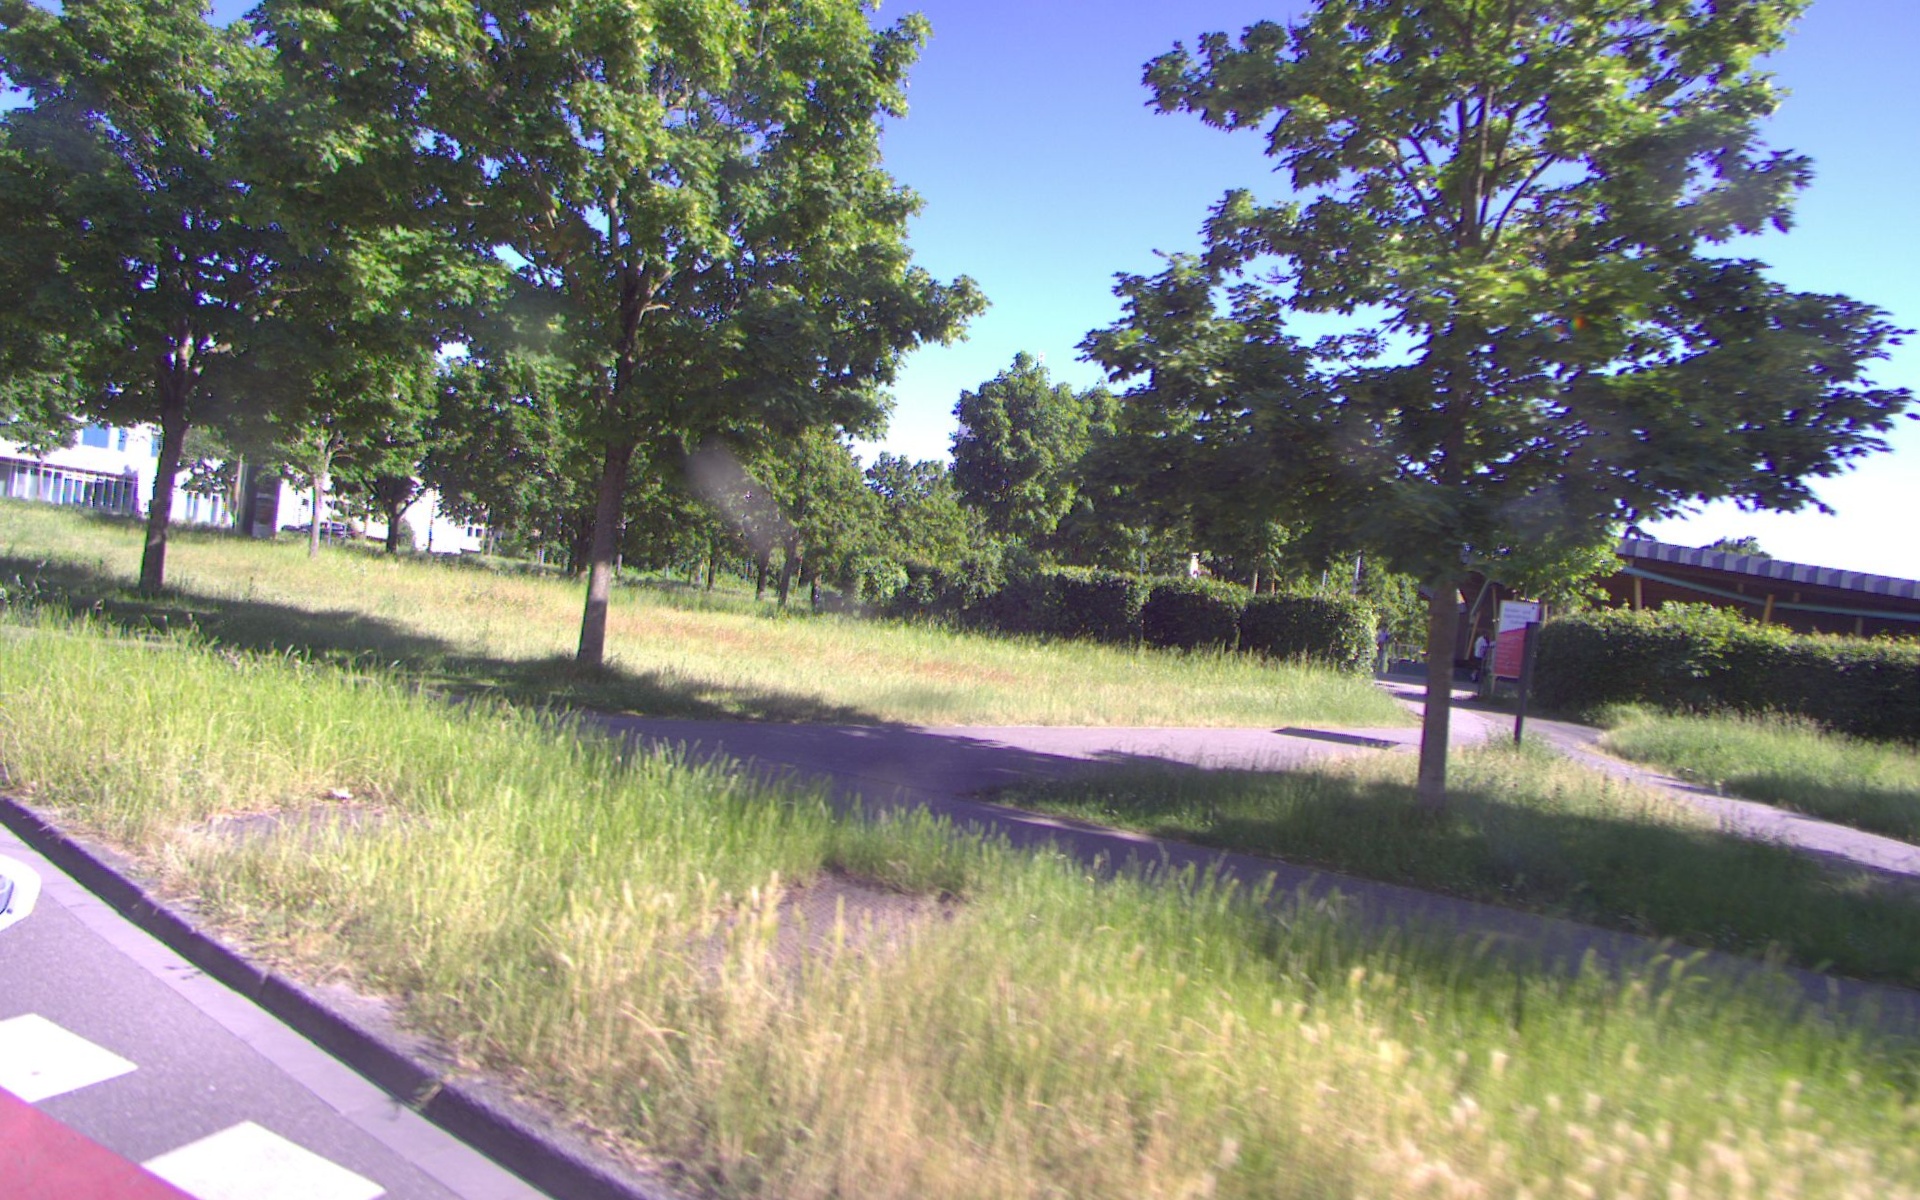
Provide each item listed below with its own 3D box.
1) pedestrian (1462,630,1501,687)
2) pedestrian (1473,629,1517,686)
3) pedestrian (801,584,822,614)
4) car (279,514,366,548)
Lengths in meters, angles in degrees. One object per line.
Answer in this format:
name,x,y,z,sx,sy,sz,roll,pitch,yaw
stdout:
pedestrian,17.592,1.974,33.960,0.846,1.801,0.813,7,1,20
pedestrian,18.453,1.974,34.738,0.799,1.801,0.861,7,1,-5
pedestrian,-9.288,-0.042,63.003,0.726,1.748,0.888,7,1,26
car,-43.661,-4.708,68.966,1.967,1.629,4.507,7,0,31
